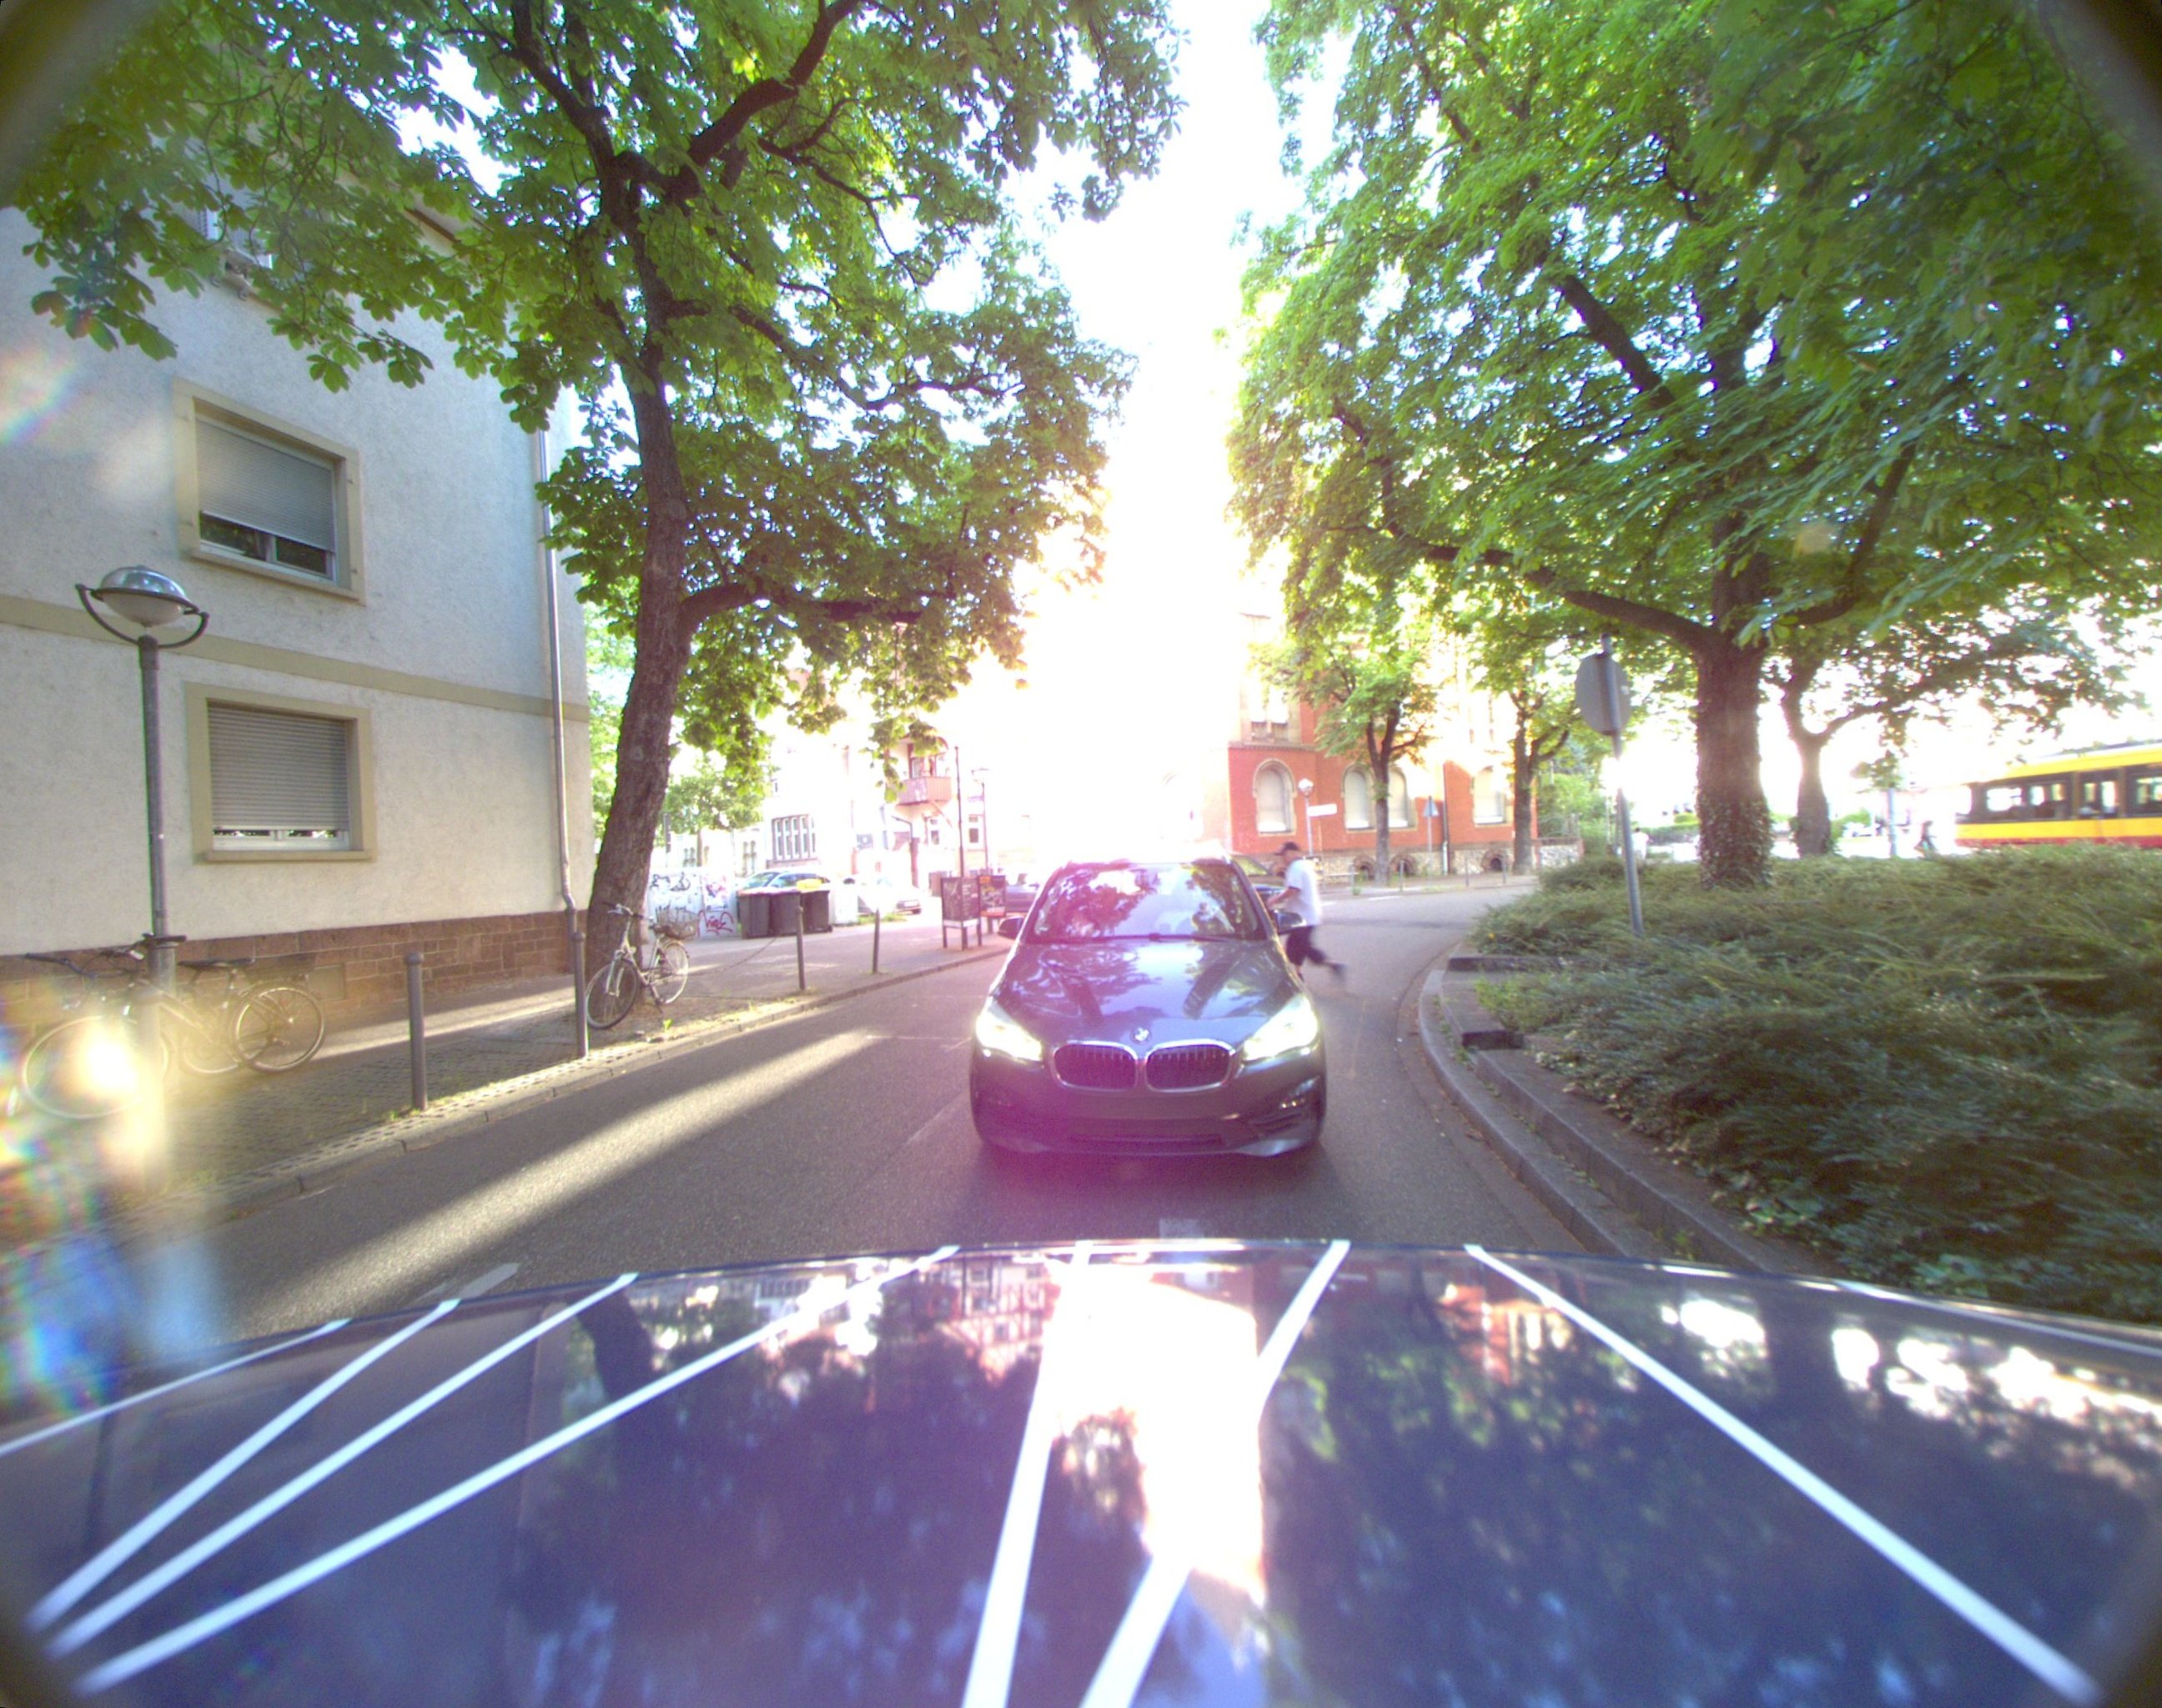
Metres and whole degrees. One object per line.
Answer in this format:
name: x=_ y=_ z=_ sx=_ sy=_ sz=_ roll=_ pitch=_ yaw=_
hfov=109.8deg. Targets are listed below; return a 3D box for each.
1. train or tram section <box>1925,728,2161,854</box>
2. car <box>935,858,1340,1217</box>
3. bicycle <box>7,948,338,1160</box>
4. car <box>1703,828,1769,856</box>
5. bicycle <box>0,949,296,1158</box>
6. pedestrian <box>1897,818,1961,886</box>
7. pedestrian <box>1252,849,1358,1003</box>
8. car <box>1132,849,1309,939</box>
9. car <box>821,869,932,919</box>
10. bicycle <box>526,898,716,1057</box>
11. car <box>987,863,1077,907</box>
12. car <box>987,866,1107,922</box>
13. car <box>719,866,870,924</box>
train or tram section: x=32.431 y=-1.884 z=23.236 sx=2.768 sy=3.536 sz=12.697 roll=-3 pitch=0 yaw=18
car: x=0.466 y=0.864 z=5.602 sx=1.792 sy=1.569 sz=4.262 roll=-2 pitch=0 yaw=6
bicycle: x=-6.379 y=1.330 z=5.483 sx=0.334 sy=1.087 sz=1.636 roll=-3 pitch=0 yaw=1
car: x=36.316 y=-0.666 z=42.225 sx=1.733 sy=1.409 sz=4.006 roll=-3 pitch=0 yaw=25
bicycle: x=-6.771 y=1.345 z=5.528 sx=0.334 sy=1.087 sz=1.636 roll=-3 pitch=0 yaw=1
pedestrian: x=21.513 y=-0.051 z=19.280 sx=0.905 sy=1.625 sz=0.724 roll=-5 pitch=0 yaw=-22
pedestrian: x=2.418 y=0.761 z=8.280 sx=0.944 sy=1.583 sz=0.643 roll=-3 pitch=0 yaw=7
car: x=2.864 y=0.795 z=16.314 sx=1.683 sy=1.619 sz=3.680 roll=-3 pitch=0 yaw=-30
car: x=-7.313 y=1.411 z=27.014 sx=4.041 sy=1.543 sz=1.699 roll=-3 pitch=1 yaw=41
bicycle: x=-4.616 y=1.176 z=7.826 sx=0.767 sy=1.297 sz=1.903 roll=-3 pitch=0 yaw=-1
car: x=-1.912 y=1.187 z=29.171 sx=3.207 sy=1.530 sz=1.495 roll=-2 pitch=0 yaw=38
car: x=-1.032 y=1.120 z=21.647 sx=1.475 sy=1.381 sz=3.392 roll=-5 pitch=2 yaw=-43
car: x=-8.360 y=1.163 z=22.427 sx=1.672 sy=1.417 sz=3.811 roll=-3 pitch=0 yaw=36
